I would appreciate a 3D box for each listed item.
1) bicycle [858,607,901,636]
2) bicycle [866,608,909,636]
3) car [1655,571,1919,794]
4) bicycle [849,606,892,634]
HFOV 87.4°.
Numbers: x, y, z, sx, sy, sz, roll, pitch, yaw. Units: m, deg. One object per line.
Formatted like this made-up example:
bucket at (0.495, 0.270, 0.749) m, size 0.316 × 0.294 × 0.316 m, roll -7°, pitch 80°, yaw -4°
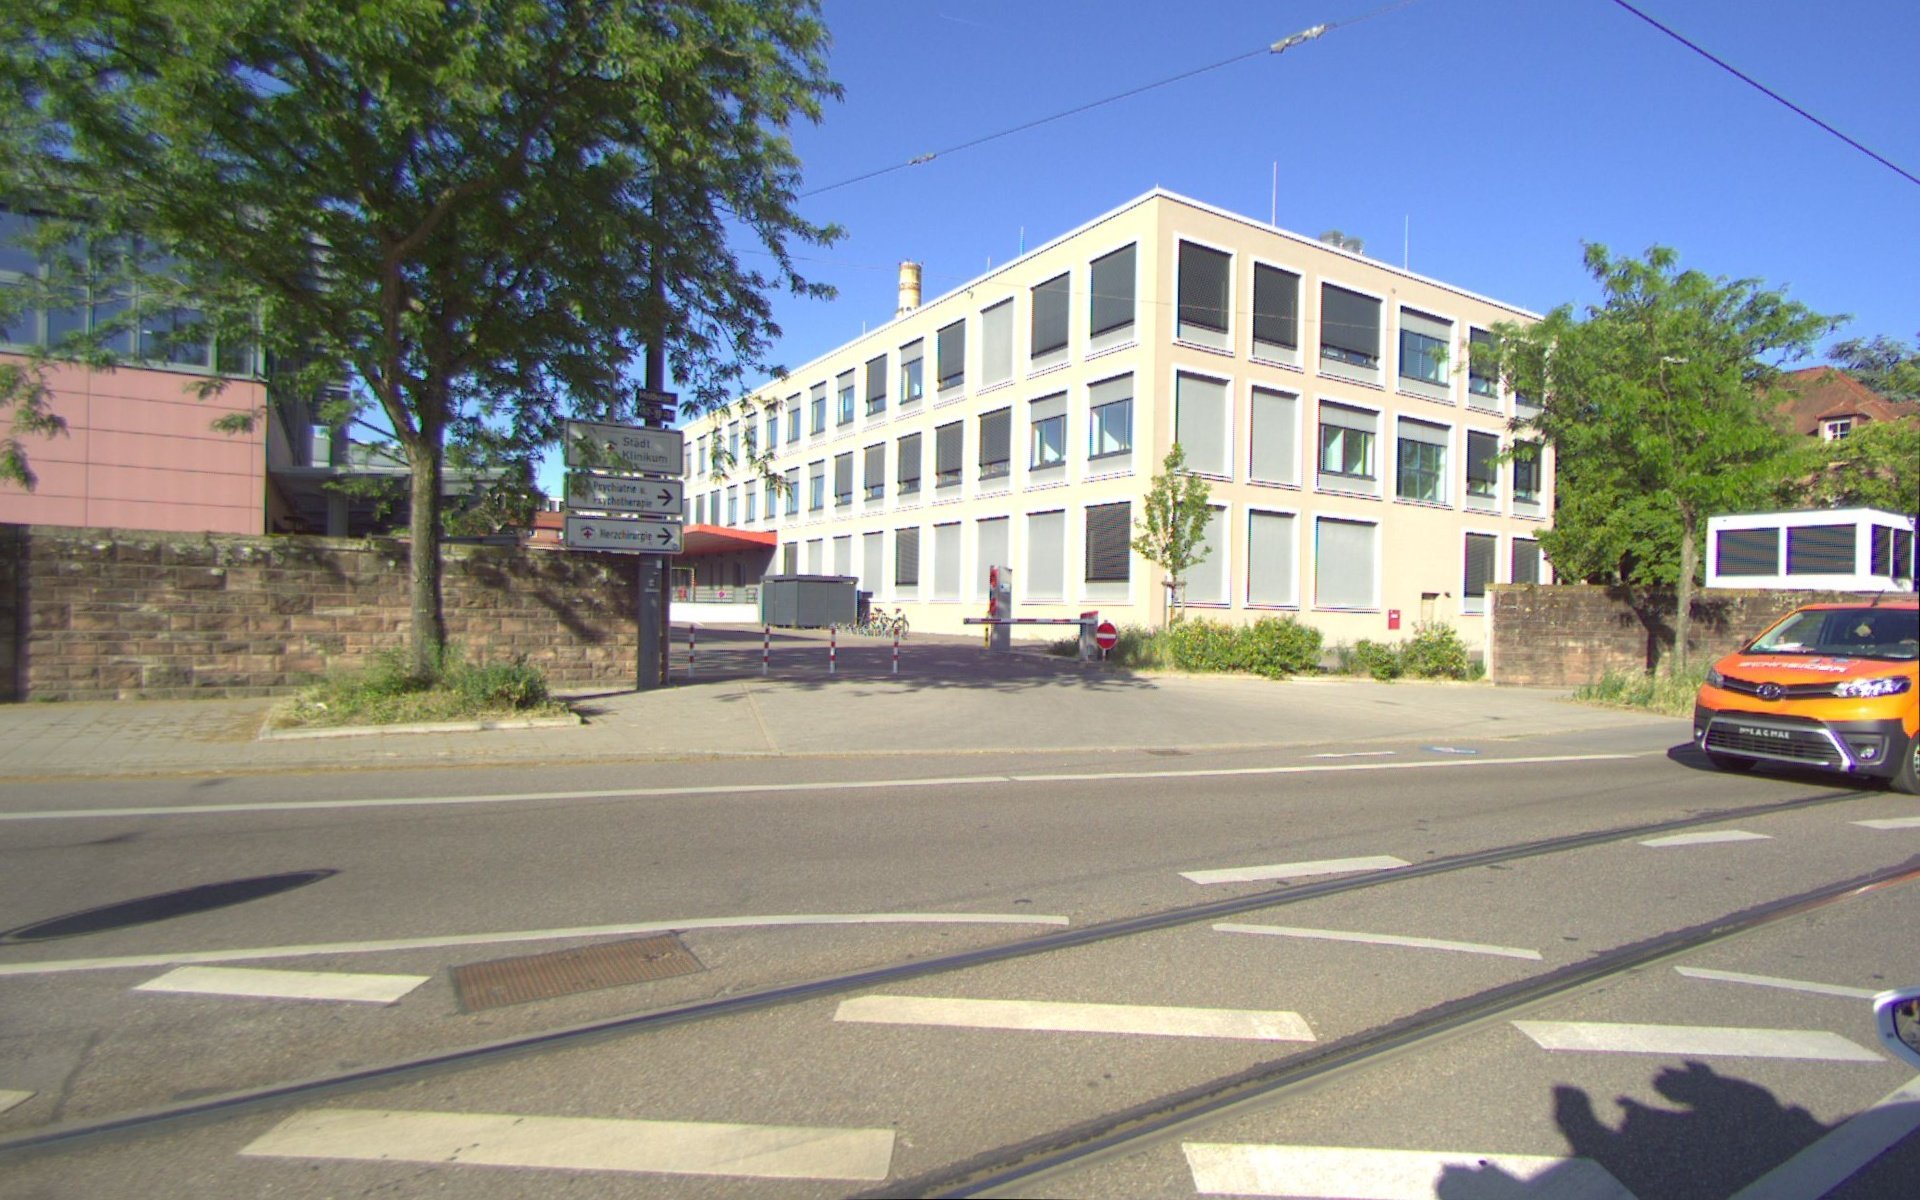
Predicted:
bicycle at (-3.148, 0.844, 39.345) m, size 1.669 × 1.075 × 0.457 m, roll 2°, pitch 0°, yaw -33°
bicycle at (-2.787, 0.856, 38.685) m, size 1.685 × 1.075 × 0.457 m, roll 2°, pitch -1°, yaw -36°
car at (10.119, 0.798, 10.734) m, size 4.859 × 1.992 × 1.991 m, roll 1°, pitch -1°, yaw -20°
bicycle at (-3.585, 0.806, 40.309) m, size 1.669 × 1.076 × 0.457 m, roll 1°, pitch 2°, yaw -34°
